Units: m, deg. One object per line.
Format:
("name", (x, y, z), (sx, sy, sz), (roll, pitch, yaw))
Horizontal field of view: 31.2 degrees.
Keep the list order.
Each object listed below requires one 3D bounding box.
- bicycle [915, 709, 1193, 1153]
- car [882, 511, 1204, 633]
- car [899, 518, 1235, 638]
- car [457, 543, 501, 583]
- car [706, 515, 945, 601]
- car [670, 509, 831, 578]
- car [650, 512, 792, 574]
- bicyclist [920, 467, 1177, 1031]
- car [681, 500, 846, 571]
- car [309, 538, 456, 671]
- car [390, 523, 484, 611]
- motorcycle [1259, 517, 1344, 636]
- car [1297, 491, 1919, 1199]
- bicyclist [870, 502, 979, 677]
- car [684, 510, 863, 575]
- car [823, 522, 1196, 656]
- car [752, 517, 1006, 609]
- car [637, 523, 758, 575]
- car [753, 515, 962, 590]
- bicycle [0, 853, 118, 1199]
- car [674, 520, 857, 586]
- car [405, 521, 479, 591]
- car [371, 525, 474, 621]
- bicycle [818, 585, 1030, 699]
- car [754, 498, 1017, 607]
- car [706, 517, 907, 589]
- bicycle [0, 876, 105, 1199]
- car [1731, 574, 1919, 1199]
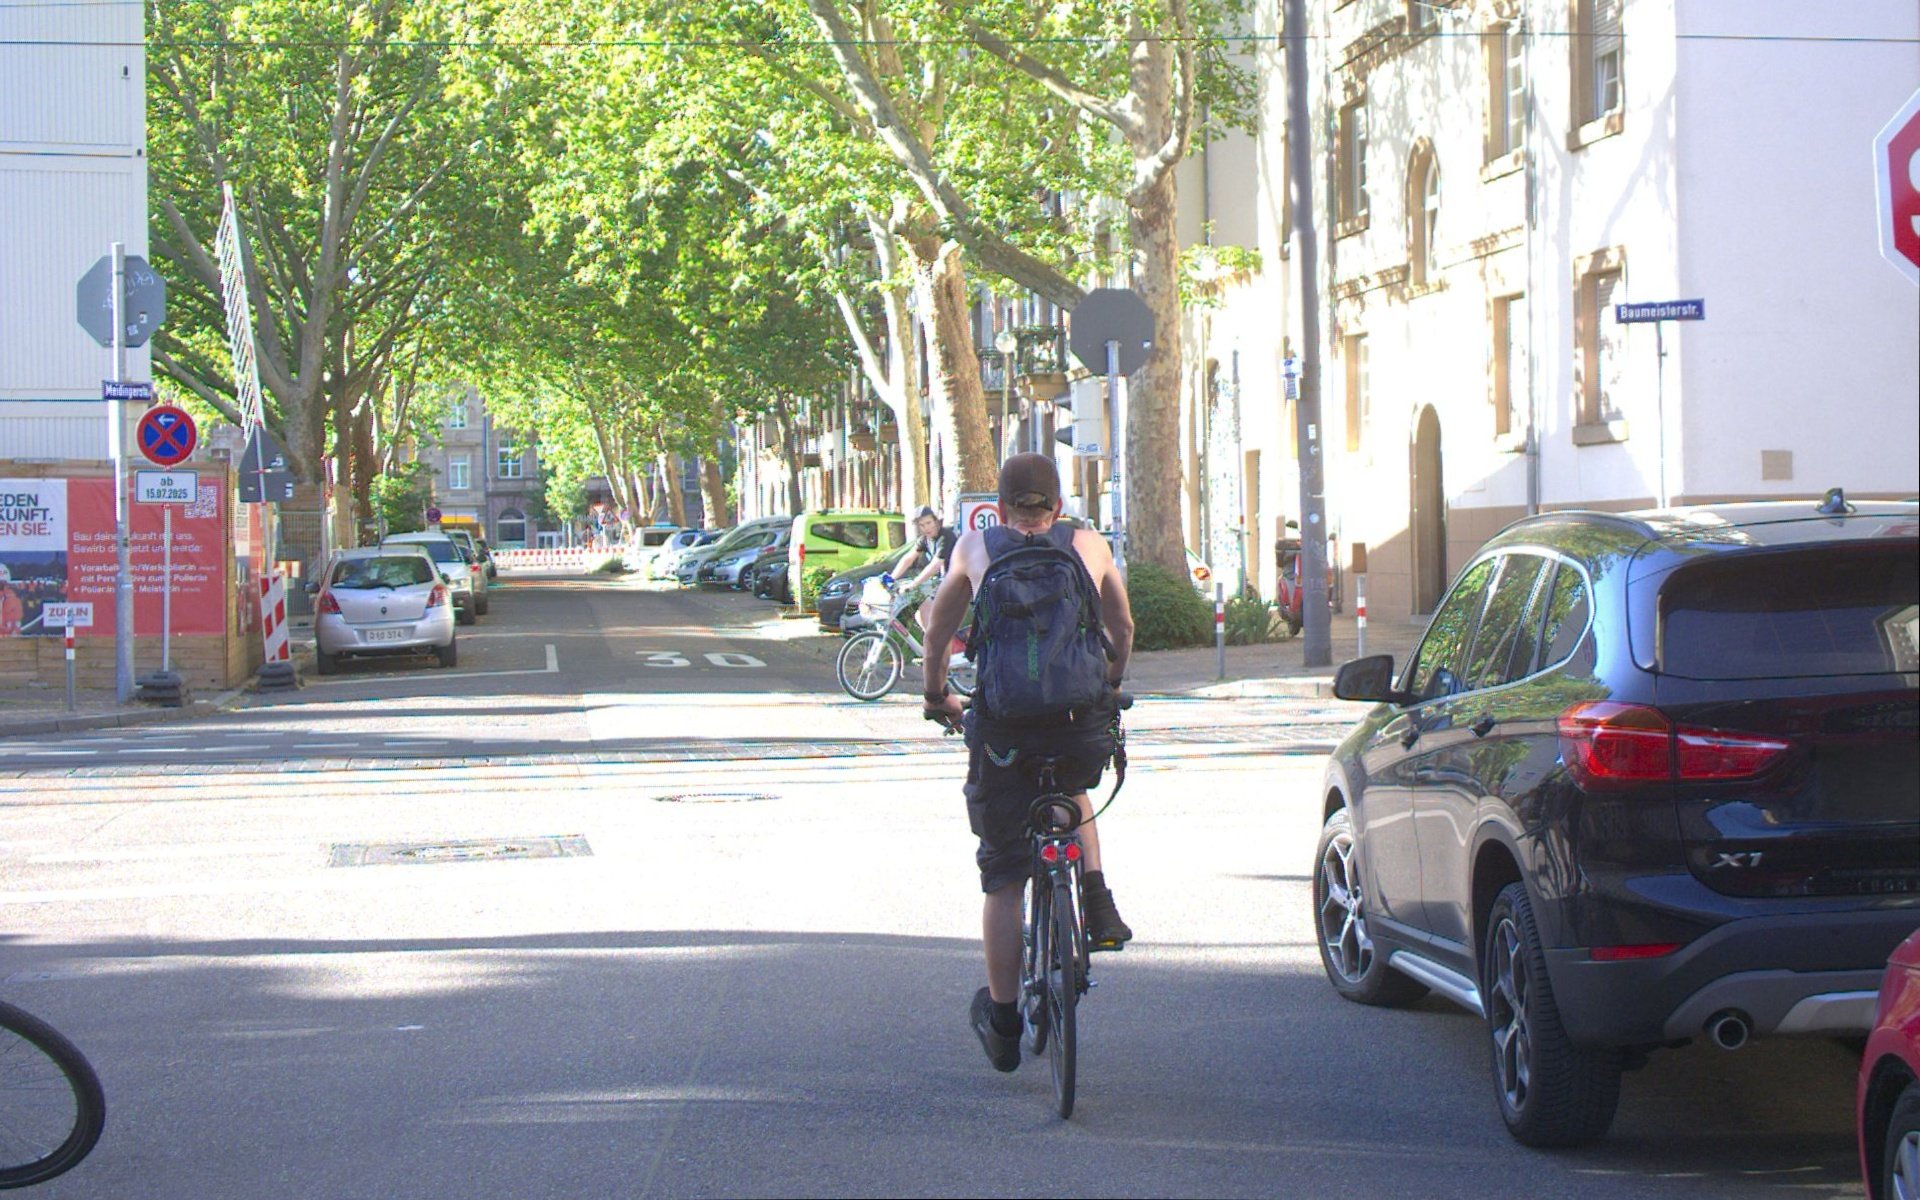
("bicycle", (0.229, 0.860, 9.580), (0.689, 1.013, 1.907), (0, 1, 0))
("car", (1.195, -0.430, 50.299), (4.460, 1.665, 1.729), (-1, 1, -8))
("car", (1.474, -0.325, 48.232), (4.460, 1.565, 1.729), (-1, 1, -8))
("car", (-19.818, -1.540, 141.624), (1.665, 1.557, 4.220), (-1, 1, -9))
("car", (-2.635, -0.823, 66.973), (4.460, 1.565, 1.729), (-1, 1, -8))
("car", (-6.050, -1.647, 99.050), (4.460, 1.891, 1.729), (-1, 1, -8))
("car", (-7.766, -1.861, 111.749), (4.460, 1.891, 1.729), (-1, 1, -8))
("bicyclist", (0.234, 0.394, 9.558), (0.676, 1.508, 0.669), (0, 1, 0))
("car", (-5.518, -1.805, 96.322), (4.460, 1.891, 1.729), (-1, 1, -8))
("car", (-7.215, 0.015, 43.057), (1.643, 1.489, 4.001), (-3, 2, -9))
("car", (-9.868, -0.647, 64.782), (1.665, 1.557, 4.520), (-1, 1, -9))
("motorcycle", (3.908, -0.282, 39.479), (0.513, 1.328, 1.764), (-1, 2, -10))
("car", (2.151, 0.545, 9.989), (1.760, 1.656, 4.198), (0, 1, -2))
("bicyclist", (-0.347, -0.107, 33.158), (0.809, 1.652, 0.682), (-2, 1, -25))
("car", (-4.839, -1.496, 89.033), (4.460, 1.565, 1.729), (-1, 1, -8))
("car", (0.596, -0.164, 43.262), (4.460, 1.565, 1.729), (-1, 1, -8))
("car", (-1.504, -0.693, 63.142), (4.460, 1.565, 1.729), (-1, 1, -8))
("car", (-10.023, -1.958, 131.043), (4.460, 1.891, 1.729), (-1, 1, -8))
("car", (-2.292, -1.074, 76.486), (4.460, 1.565, 1.729), (-1, 1, -8))
("bicycle", (-2.688, 1.046, 8.142), (1.308, 0.815, 0.371), (-1, 1, -10))
("car", (-4.915, -1.198, 86.691), (4.460, 1.565, 1.729), (-1, 1, -8))
("car", (-12.281, -1.062, 81.362), (1.665, 1.557, 4.617), (-1, 1, -9))
("car", (-9.240, -0.492, 59.110), (1.665, 1.557, 4.001), (-1, 1, -9))
("bicycle", (-0.344, 0.396, 33.167), (1.915, 1.015, 0.682), (-2, 1, -25))
("car", (-1.340, -0.855, 61.127), (4.460, 1.830, 1.729), (-1, 1, -9))
("car", (-3.566, -1.097, 79.558), (4.460, 1.565, 1.729), (-1, 1, -8))
("bicycle", (-2.625, 1.073, 7.771), (1.308, 0.815, 0.355), (-1, 1, -10))
("car", (2.495, 0.741, 5.146), (1.645, 1.498, 3.955), (0, 1, -2))
